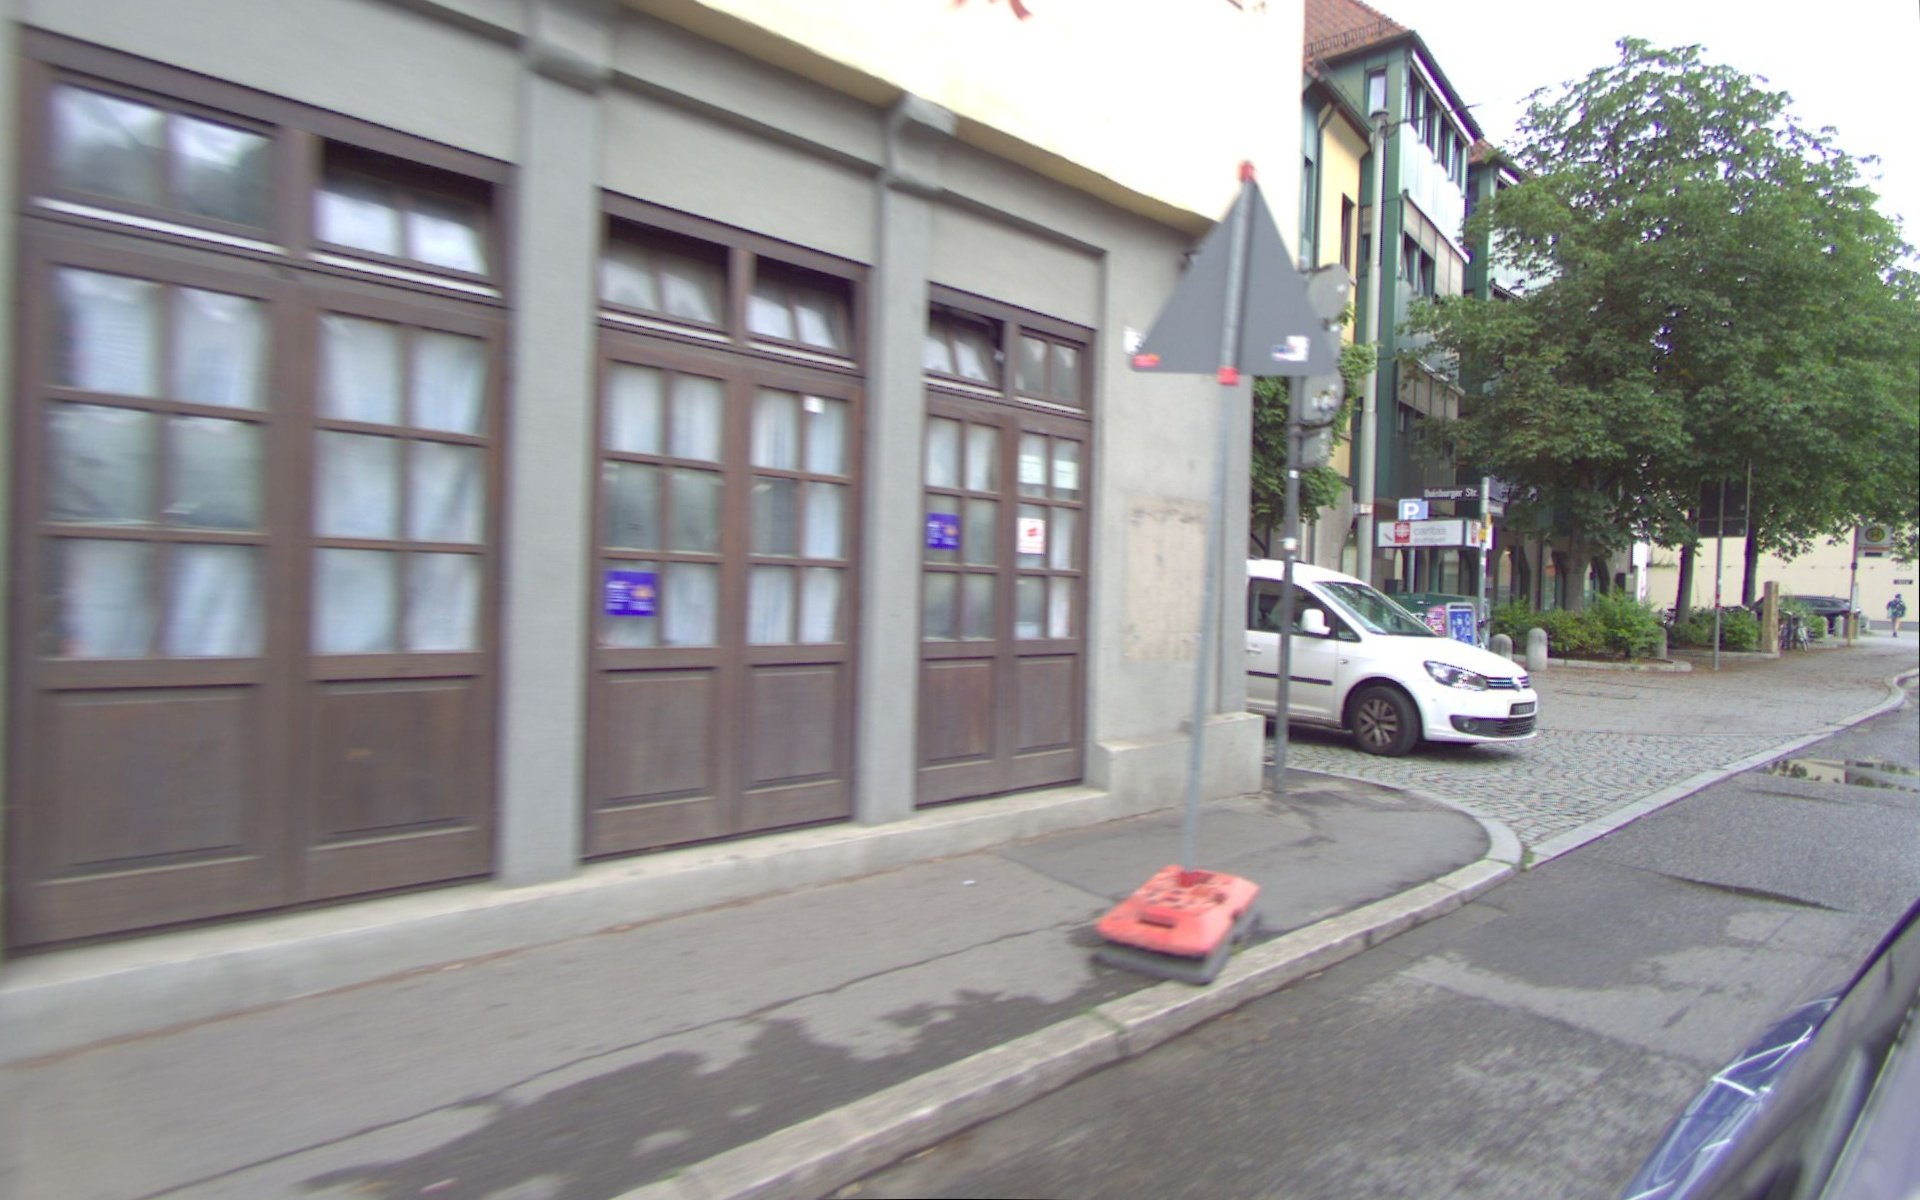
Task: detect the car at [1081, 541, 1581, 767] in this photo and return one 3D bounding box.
[{"bbox_3d":[3.565,0.351,10.453,1.965,1.809,4.462,-1,2,-40],"label":"car"}]

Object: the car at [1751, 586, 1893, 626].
[{"bbox_3d":[34.260,0.198,40.292,1.963,1.482,3.998,-1,1,-37],"label":"car"}]

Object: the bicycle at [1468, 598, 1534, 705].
[{"bbox_3d":[7.091,0.639,13.239,0.400,1.273,1.411,2,3,42],"label":"bicycle"}]

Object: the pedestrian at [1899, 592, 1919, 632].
[{"bbox_3d":[36.006,0.436,38.269,0.758,1.461,0.599,0,2,-40],"label":"pedestrian"}]
